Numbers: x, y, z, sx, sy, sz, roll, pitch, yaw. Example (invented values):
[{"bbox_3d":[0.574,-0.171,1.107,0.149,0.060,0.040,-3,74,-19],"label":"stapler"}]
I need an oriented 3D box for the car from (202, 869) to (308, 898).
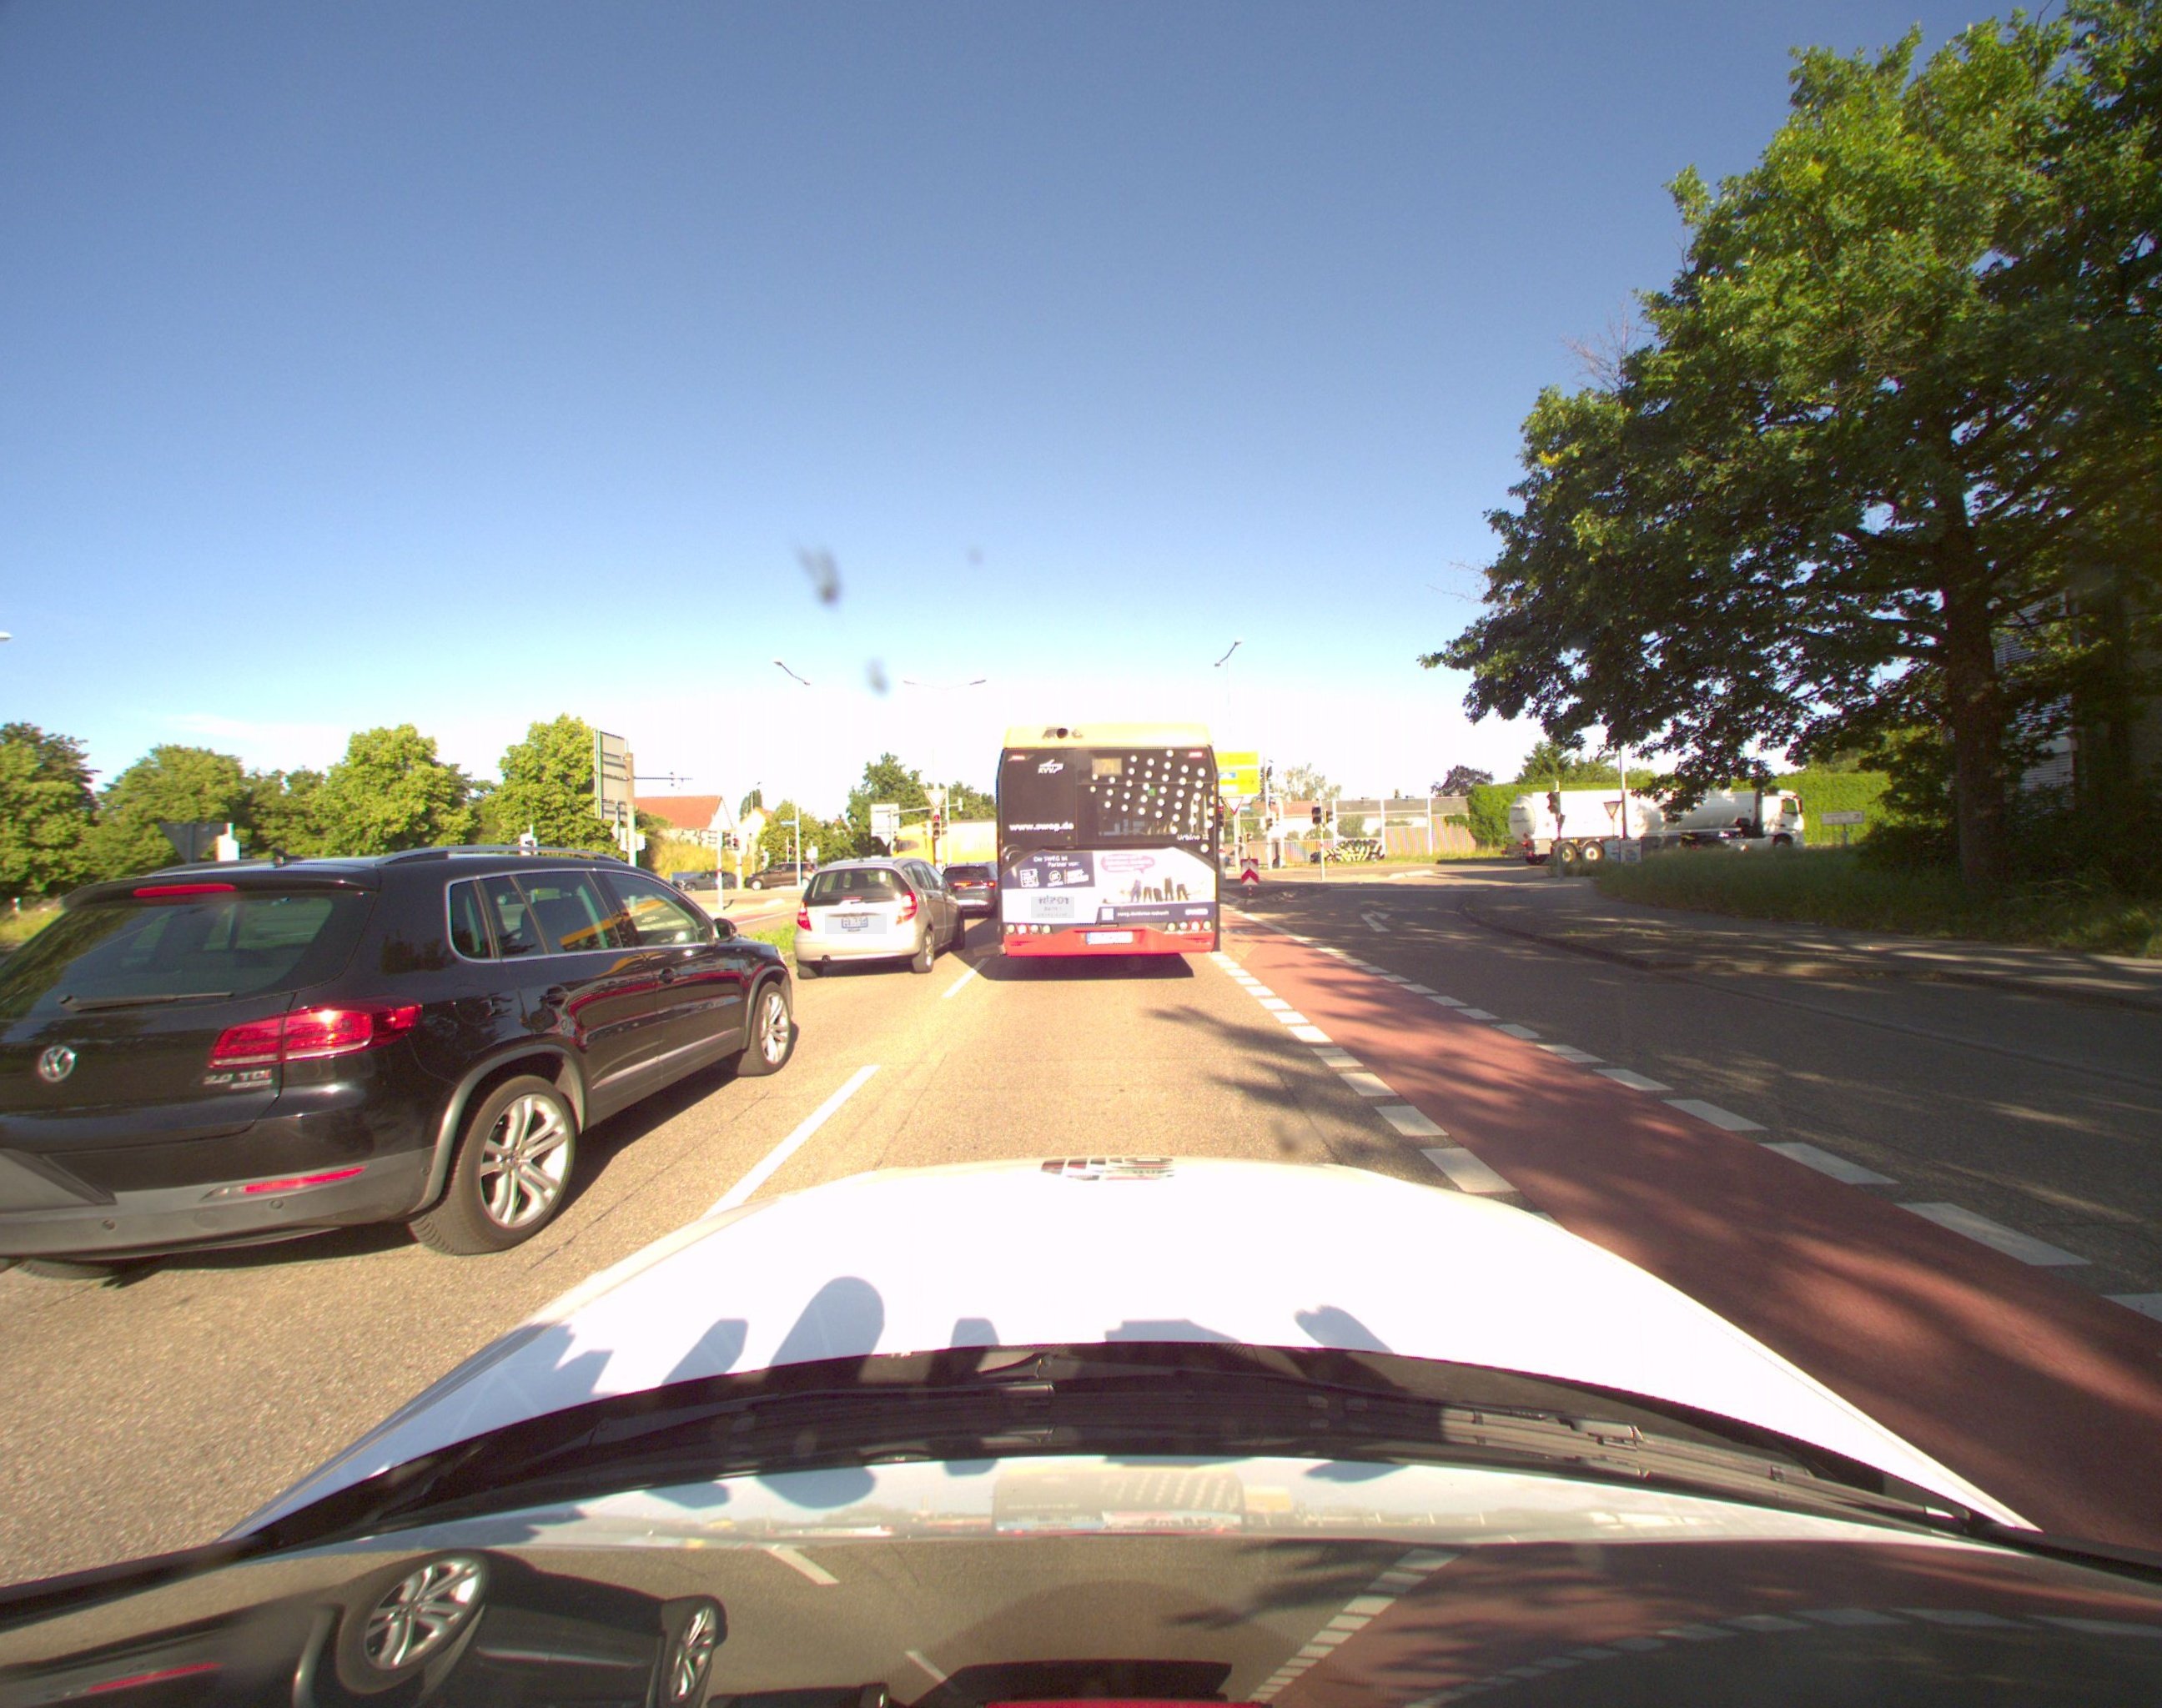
[{"bbox_3d":[-46.082,1.635,45.510,3.980,1.553,1.693,-1,-1,-5],"label":"car"}]

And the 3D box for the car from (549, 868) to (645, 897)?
[{"bbox_3d":[-24.701,1.460,41.696,3.842,1.385,1.678,-1,-1,-7],"label":"car"}]

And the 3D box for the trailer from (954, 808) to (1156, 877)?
[{"bbox_3d":[-1.687,-0.741,52.982,12.712,4.030,2.466,-2,0,-5],"label":"trailer"}]

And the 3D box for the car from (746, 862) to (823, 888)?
[{"bbox_3d":[-17.478,1.231,48.132,3.980,1.442,1.563,-1,-1,-5],"label":"car"}]

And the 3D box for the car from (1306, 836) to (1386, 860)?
[{"bbox_3d":[15.453,-0.344,47.559,4.148,1.302,1.573,-1,-1,-2],"label":"car"}]

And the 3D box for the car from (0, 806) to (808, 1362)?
[{"bbox_3d":[-3.188,0.767,4.548,1.814,1.673,4.004,-3,-1,1],"label":"car"}]

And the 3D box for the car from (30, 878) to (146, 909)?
[{"bbox_3d":[-57.943,2.295,47.603,3.983,1.715,1.995,-1,-1,-7],"label":"car"}]

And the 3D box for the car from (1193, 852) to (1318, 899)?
[{"bbox_3d":[5.162,0.640,24.297,3.500,1.302,1.579,-1,1,10],"label":"car"}]

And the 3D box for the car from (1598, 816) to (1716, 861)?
[{"bbox_3d":[18.001,-0.466,25.460,3.412,1.296,1.449,0,-1,-24],"label":"car"}]

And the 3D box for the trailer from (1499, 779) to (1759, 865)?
[{"bbox_3d":[26.387,-1.516,39.364,11.457,3.696,2.391,-2,0,-5],"label":"trailer"}]

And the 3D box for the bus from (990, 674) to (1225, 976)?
[{"bbox_3d":[0.484,-0.319,15.078,2.586,3.334,11.988,-1,0,2],"label":"bus"}]

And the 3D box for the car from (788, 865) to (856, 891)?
[{"bbox_3d":[-17.270,1.596,54.483,3.979,1.612,1.693,-2,0,-4],"label":"car"}]

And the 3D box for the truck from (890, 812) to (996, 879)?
[{"bbox_3d":[-8.769,-0.542,52.336,6.387,3.998,2.468,-2,0,-5],"label":"truck"}]

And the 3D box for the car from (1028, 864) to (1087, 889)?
[{"bbox_3d":[-1.658,1.536,56.057,3.979,1.612,1.693,-2,0,-4],"label":"car"}]

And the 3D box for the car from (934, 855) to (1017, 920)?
[{"bbox_3d":[-2.650,0.818,21.211,1.583,1.486,3.682,-2,-1,1],"label":"car"}]

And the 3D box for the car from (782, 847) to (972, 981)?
[{"bbox_3d":[-2.868,0.749,12.416,1.747,1.620,4.035,-2,1,1],"label":"car"}]

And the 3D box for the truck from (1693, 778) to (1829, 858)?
[{"bbox_3d":[33.347,-1.734,40.017,4.794,3.695,2.406,-2,0,-6],"label":"truck"}]

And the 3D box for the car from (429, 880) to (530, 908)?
[{"bbox_3d":[-30.196,1.988,40.970,3.842,1.313,1.504,-1,-1,-7],"label":"car"}]
